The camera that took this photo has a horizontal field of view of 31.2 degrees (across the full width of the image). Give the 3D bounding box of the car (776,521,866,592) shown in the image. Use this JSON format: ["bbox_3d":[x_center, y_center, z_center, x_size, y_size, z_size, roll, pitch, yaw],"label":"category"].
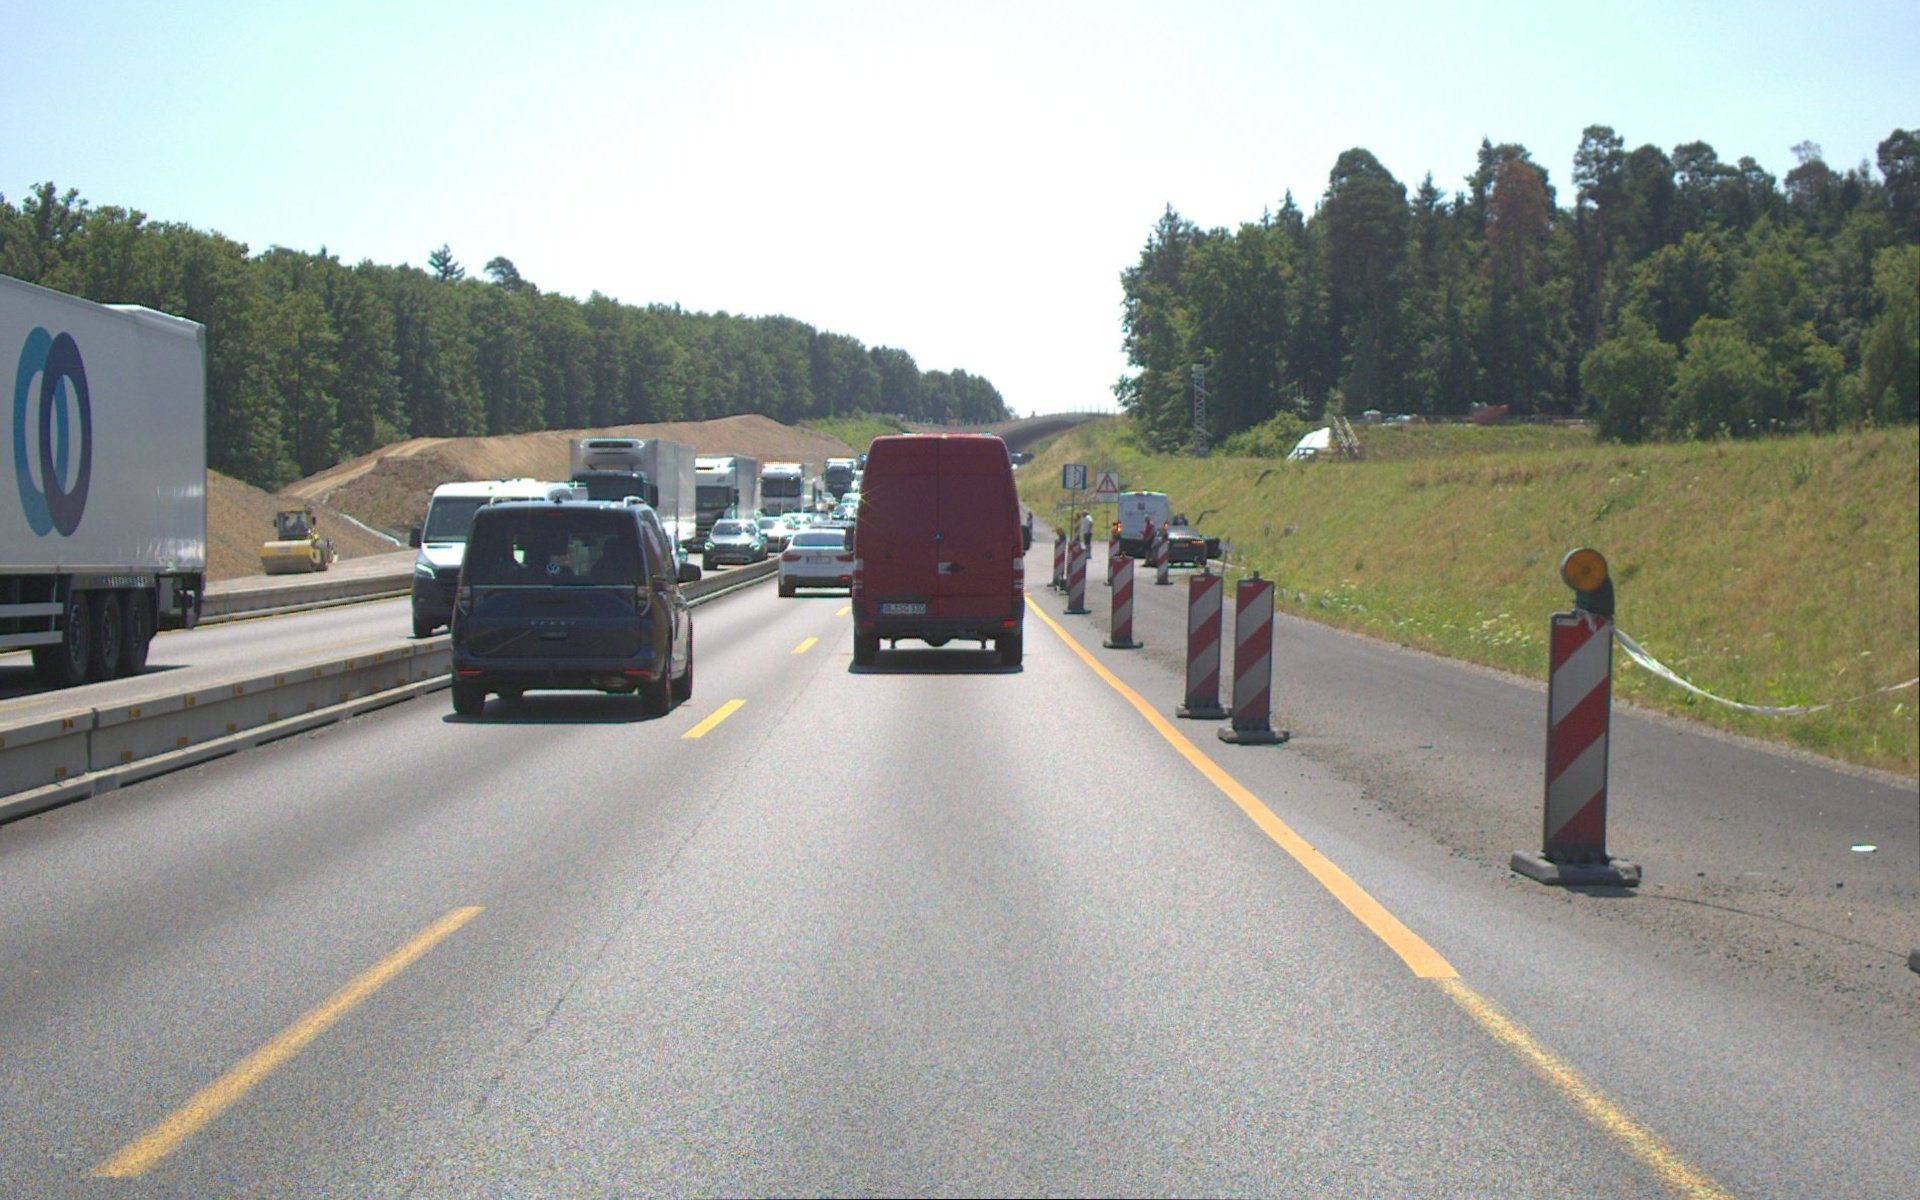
[{"bbox_3d":[-3.077,-0.966,76.746,1.831,1.517,3.961,1,1,0],"label":"car"}]

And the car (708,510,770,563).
[{"bbox_3d":[-7.016,-2.007,109.381,1.688,1.608,4.594,1,1,0],"label":"car"}]

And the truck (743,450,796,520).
[{"bbox_3d":[-11.354,-6.807,204.946,2.768,4.030,4.943,1,1,1],"label":"truck"}]

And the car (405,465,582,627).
[{"bbox_3d":[-6.966,-0.805,51.859,1.993,2.284,5.344,1,1,-1],"label":"car"}]

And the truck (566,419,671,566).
[{"bbox_3d":[-10.127,-3.182,102.489,2.491,4.184,5.912,-1,1,0],"label":"truck"}]

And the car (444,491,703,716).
[{"bbox_3d":[-3.348,-0.043,30.550,1.751,1.818,4.783,1,2,0],"label":"car"}]

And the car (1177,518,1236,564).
[{"bbox_3d":[8.318,-2.012,116.311,1.654,1.422,4.545,-2,2,0],"label":"car"}]

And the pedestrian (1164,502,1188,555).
[{"bbox_3d":[7.502,-2.480,119.466,0.624,1.822,0.643,1,2,-12],"label":"pedestrian"}]

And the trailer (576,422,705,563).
[{"bbox_3d":[-10.105,-3.391,110.179,2.502,4.165,15.535,-1,1,0],"label":"trailer"}]

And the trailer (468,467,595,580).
[{"bbox_3d":[-10.674,-1.921,86.135,2.311,2.677,6.756,-1,1,0],"label":"trailer"}]

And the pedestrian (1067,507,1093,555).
[{"bbox_3d":[4.563,-2.612,130.818,0.723,1.822,0.720,1,1,-20],"label":"pedestrian"}]

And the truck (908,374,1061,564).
[{"bbox_3d":[0.704,-3.926,108.492,4.400,5.477,16.604,1,1,0],"label":"truck"}]

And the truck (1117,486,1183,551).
[{"bbox_3d":[7.455,-3.211,134.357,2.130,2.448,5.924,1,2,7],"label":"truck"}]

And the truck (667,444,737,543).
[{"bbox_3d":[-10.779,-4.441,144.178,2.591,4.039,5.150,1,2,-1],"label":"truck"}]

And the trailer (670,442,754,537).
[{"bbox_3d":[-10.811,-4.819,151.185,2.653,3.924,13.997,1,1,0],"label":"trailer"}]

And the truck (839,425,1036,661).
[{"bbox_3d":[-0.332,-0.671,40.751,2.153,2.581,5.334,1,1,-2],"label":"truck"}]

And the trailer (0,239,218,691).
[{"bbox_3d":[-10.097,-1.232,33.333,2.854,4.079,13.653,-1,1,0],"label":"trailer"}]

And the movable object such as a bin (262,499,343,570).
[{"bbox_3d":[-30.450,-3.079,159.383,2.168,3.098,7.165,-2,2,1],"label":"movable object such as a bin"}]

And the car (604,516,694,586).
[{"bbox_3d":[-6.991,-1.102,77.493,1.688,1.496,3.977,1,1,0],"label":"car"}]

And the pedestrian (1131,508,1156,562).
[{"bbox_3d":[6.183,-2.195,115.771,0.640,1.822,0.559,0,2,-21],"label":"pedestrian"}]
